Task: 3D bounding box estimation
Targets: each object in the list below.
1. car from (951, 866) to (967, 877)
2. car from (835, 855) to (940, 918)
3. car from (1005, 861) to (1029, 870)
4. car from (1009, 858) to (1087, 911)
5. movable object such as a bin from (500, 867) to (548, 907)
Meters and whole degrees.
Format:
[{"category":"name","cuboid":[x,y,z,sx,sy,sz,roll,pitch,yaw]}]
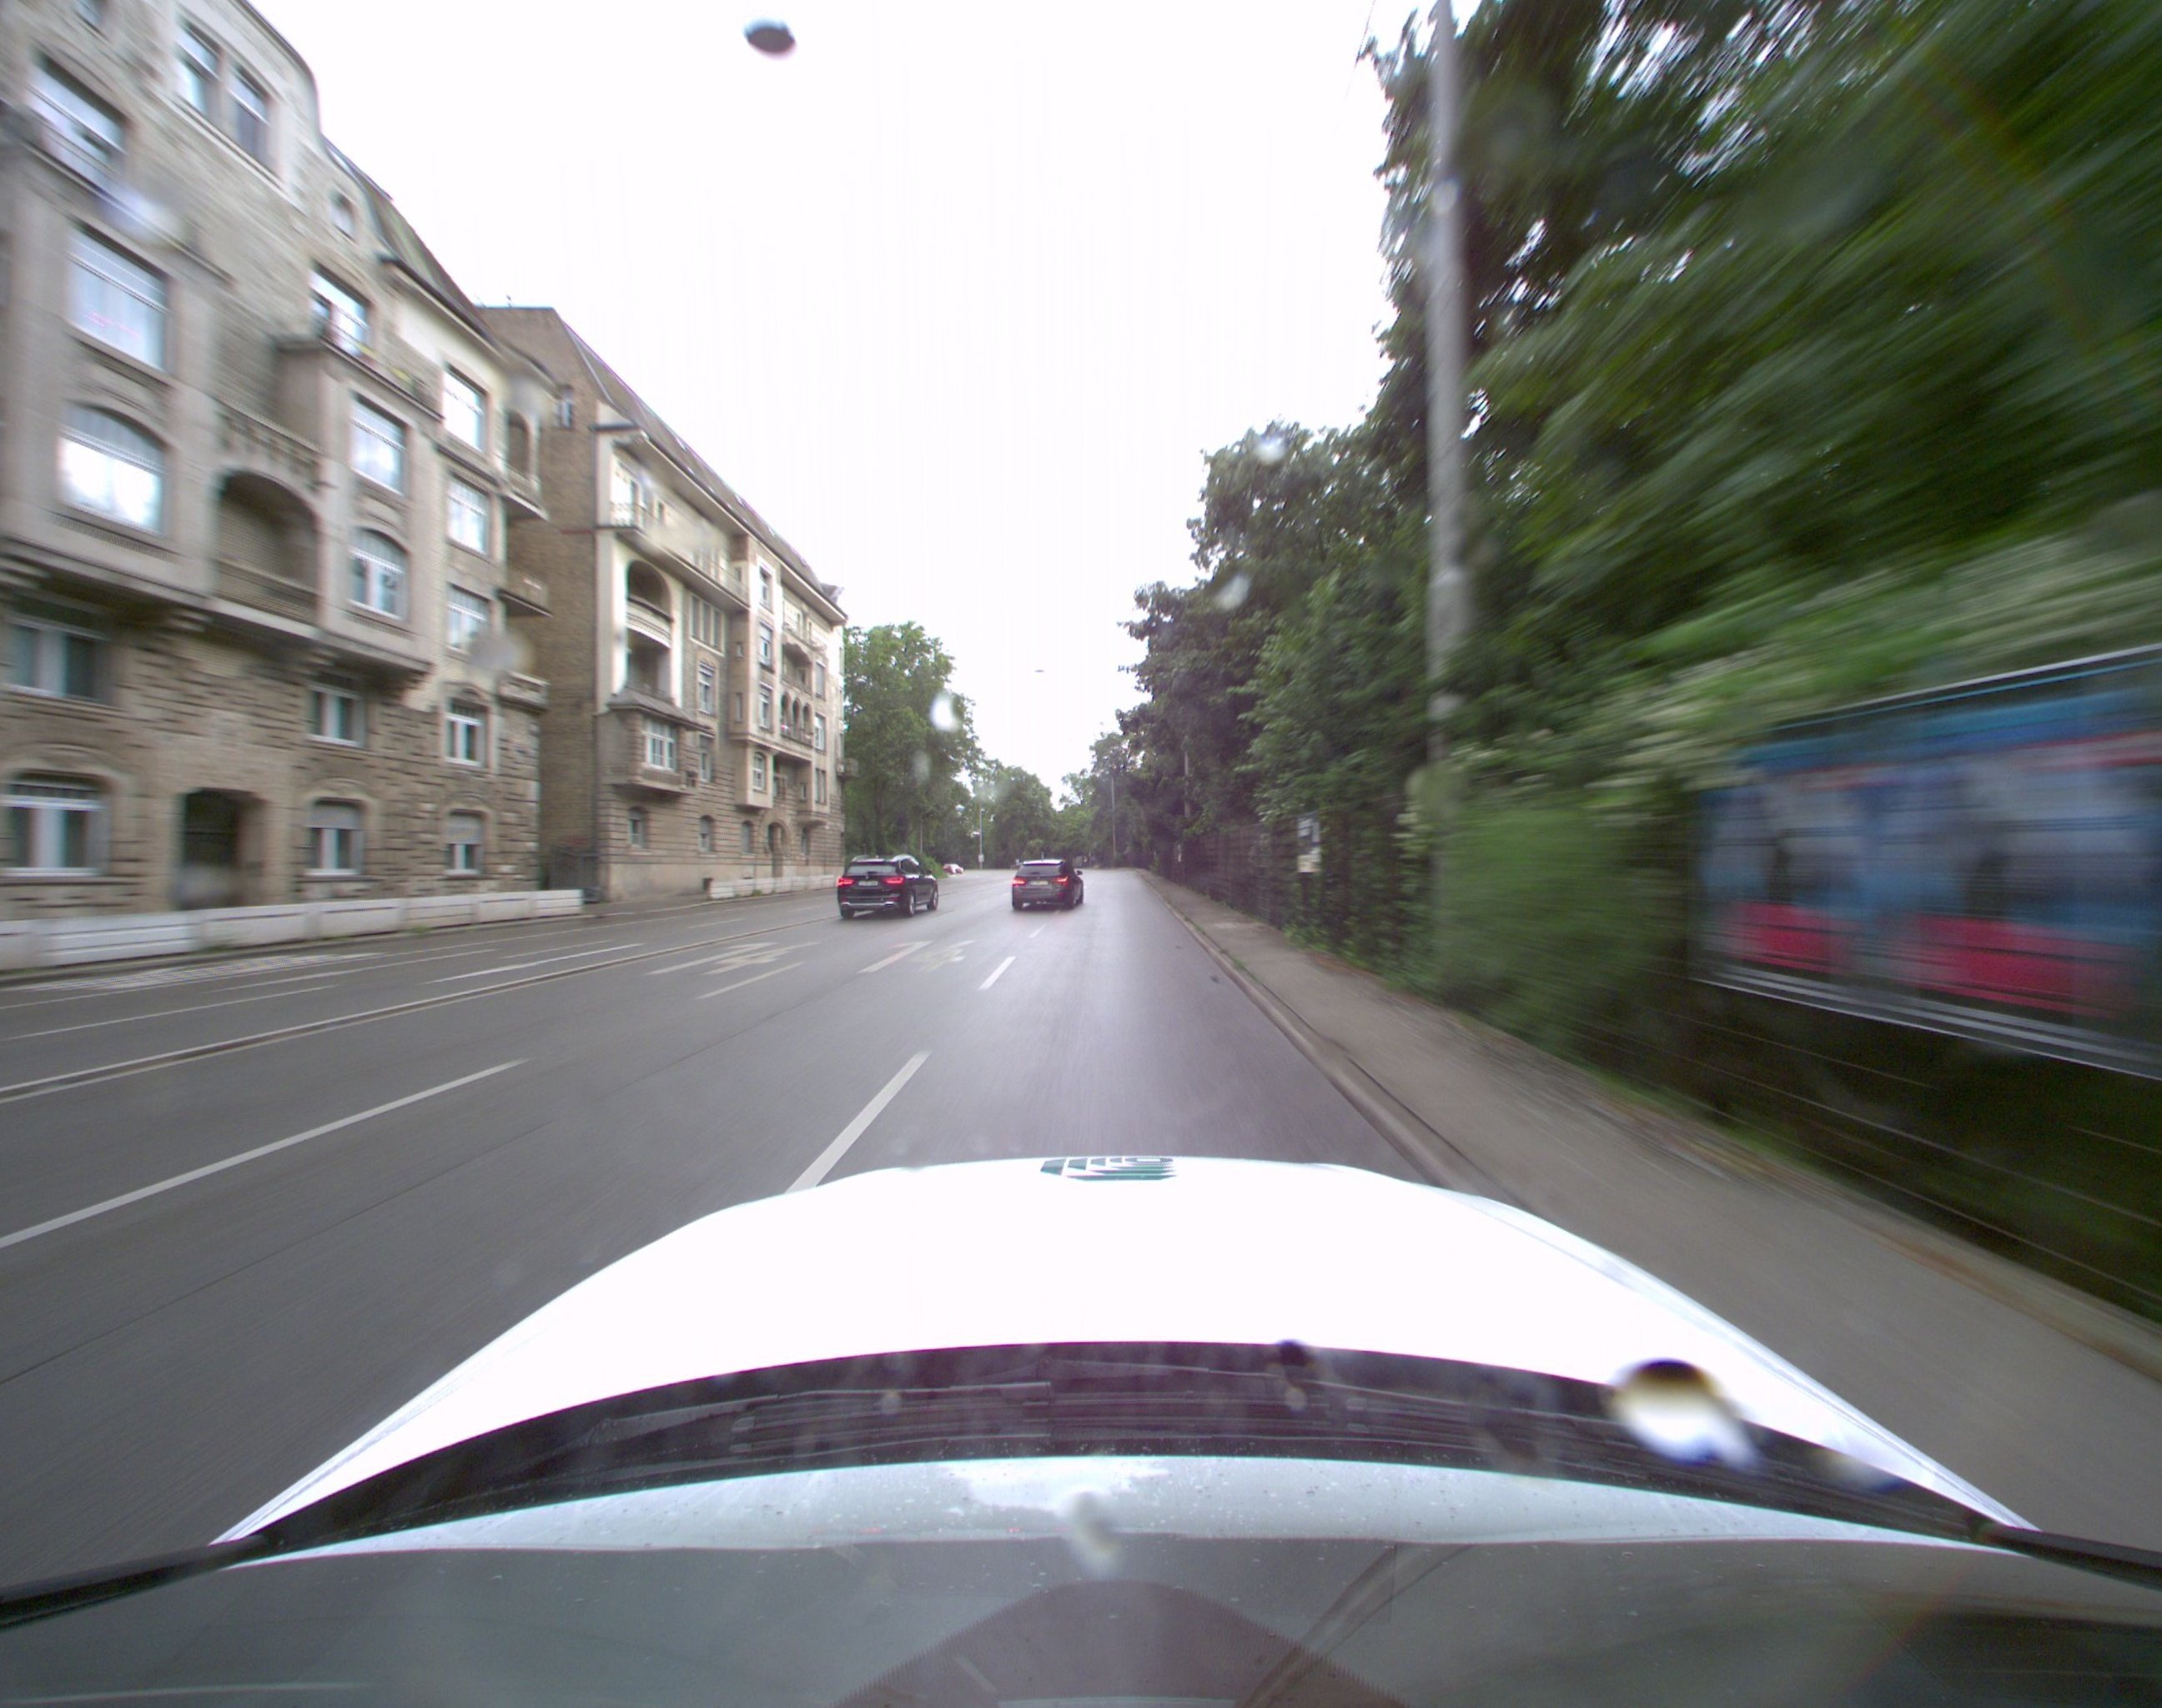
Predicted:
[{"category":"car","cuboid":[-17.334,2.527,115.800,1.573,1.414,3.964,-2,0,3]},{"category":"car","cuboid":[-5.232,0.827,22.641,1.751,1.586,4.413,0,0,1]},{"category":"car","cuboid":[-10.847,1.977,138.434,1.702,1.427,4.317,4,-4,-45]},{"category":"car","cuboid":[-0.908,0.864,25.073,1.749,1.432,4.419,-2,-1,5]},{"category":"movable object such as a bin","cuboid":[-21.147,1.245,30.935,1.021,1.434,1.023,-2,2,0]}]
